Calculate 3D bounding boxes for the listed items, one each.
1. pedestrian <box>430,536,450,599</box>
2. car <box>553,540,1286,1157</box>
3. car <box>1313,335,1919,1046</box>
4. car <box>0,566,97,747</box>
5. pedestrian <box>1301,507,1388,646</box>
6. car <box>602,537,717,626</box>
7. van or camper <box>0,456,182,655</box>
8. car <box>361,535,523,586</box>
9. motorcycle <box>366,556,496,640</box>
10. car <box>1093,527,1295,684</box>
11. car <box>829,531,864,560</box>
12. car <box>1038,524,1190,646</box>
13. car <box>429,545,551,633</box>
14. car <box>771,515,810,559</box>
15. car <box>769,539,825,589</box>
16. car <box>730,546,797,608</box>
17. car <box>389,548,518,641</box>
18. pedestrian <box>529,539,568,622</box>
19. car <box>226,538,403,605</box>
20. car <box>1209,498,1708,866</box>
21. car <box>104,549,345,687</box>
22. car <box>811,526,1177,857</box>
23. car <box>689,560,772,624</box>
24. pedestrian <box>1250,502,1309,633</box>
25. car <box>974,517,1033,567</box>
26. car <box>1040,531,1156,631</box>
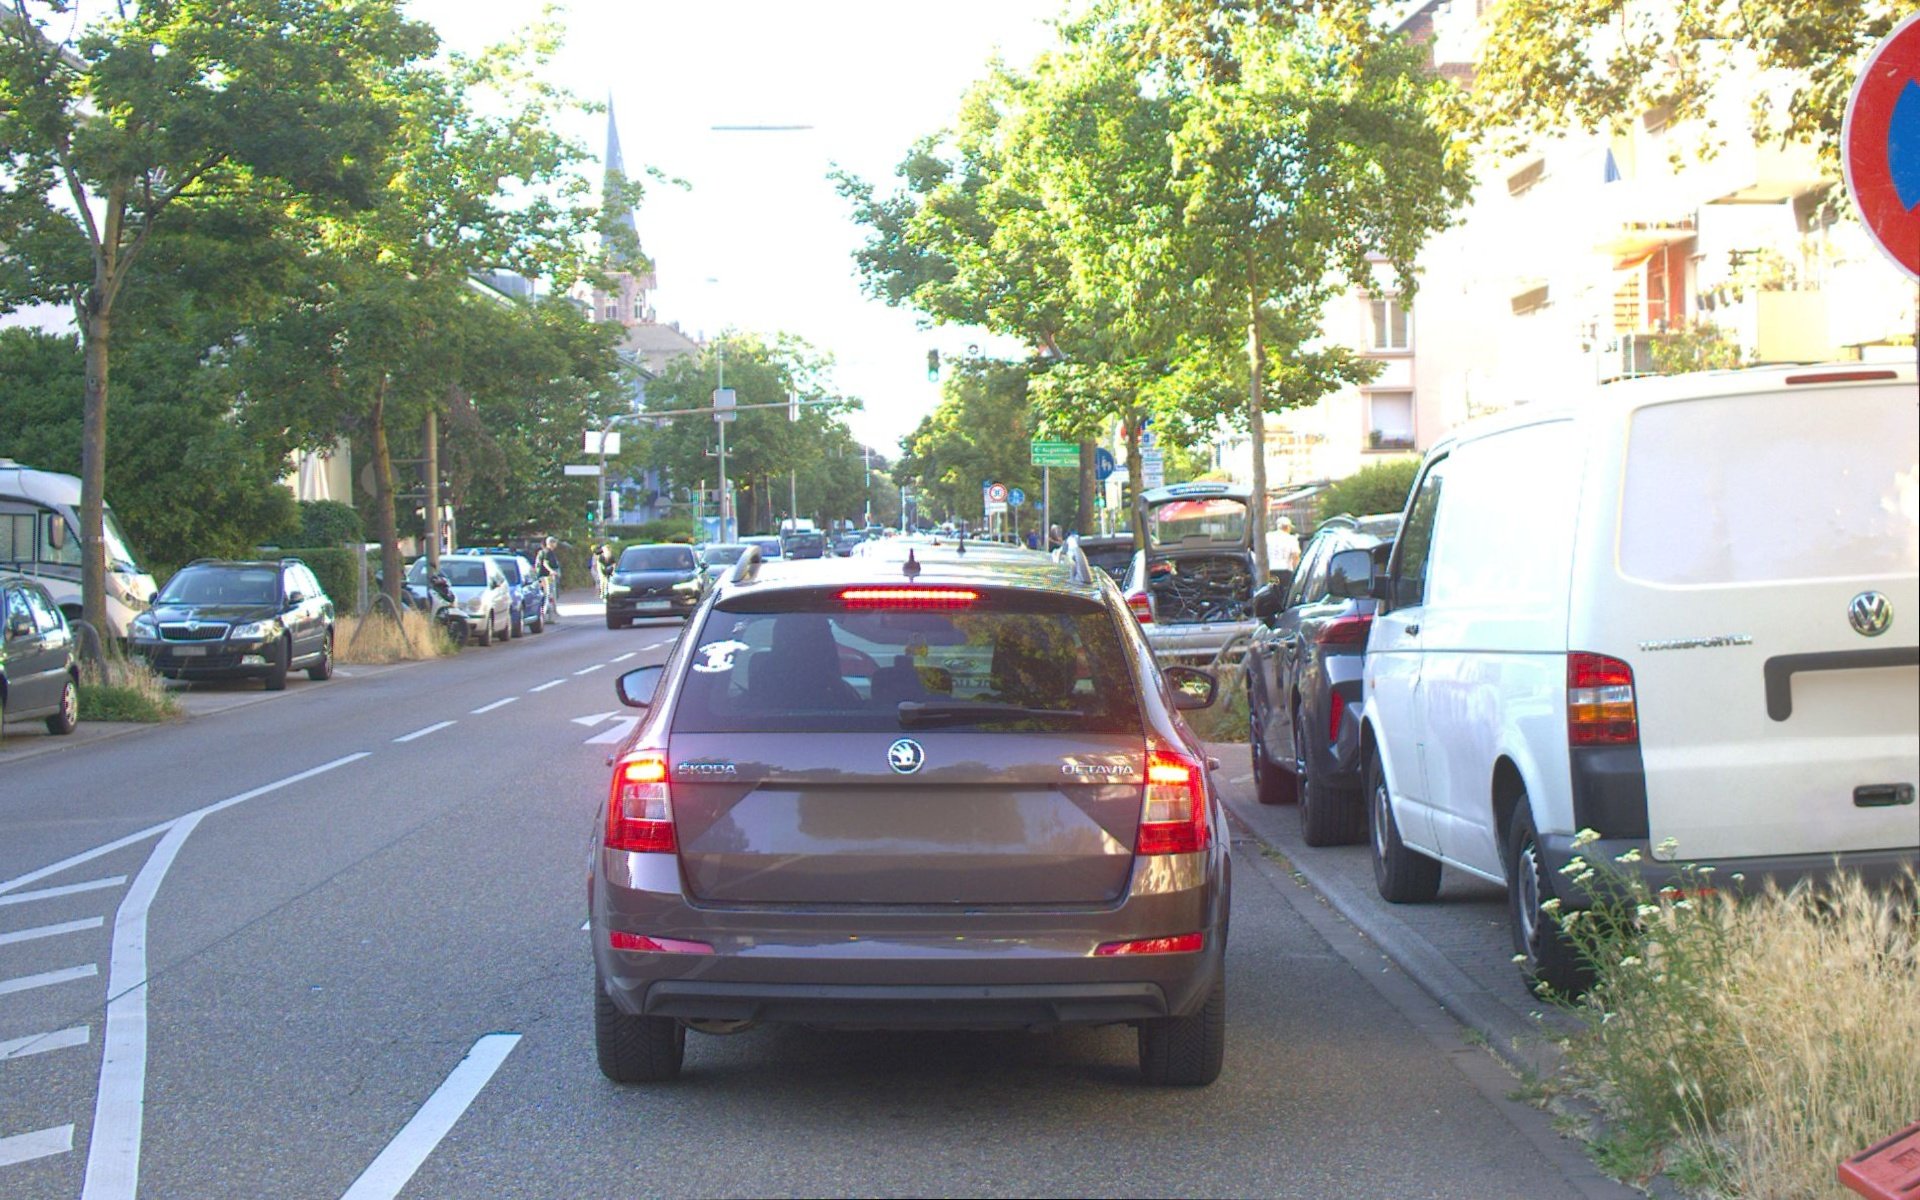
[{"bbox_3d":[-14.827,-0.937,98.031,0.449,1.790,0.504,-1,1,0],"label":"pedestrian"},{"bbox_3d":[-0.131,0.564,10.480,1.773,1.484,4.311,0,1,-1],"label":"car"},{"bbox_3d":[2.578,0.217,12.564,1.903,2.096,4.641,-1,1,-2],"label":"car"},{"bbox_3d":[-8.366,0.447,28.433,1.543,1.391,3.666,-1,1,-1],"label":"car"},{"bbox_3d":[4.580,-0.279,40.950,0.757,1.634,0.694,-1,1,36],"label":"pedestrian"},{"bbox_3d":[-5.748,-0.378,66.155,1.835,1.565,4.000,-3,1,-1],"label":"car"},{"bbox_3d":[-14.884,-0.695,49.528,6.797,2.763,2.352,1,1,-1],"label":"van or camper"},{"bbox_3d":[-15.608,-1.203,103.727,4.634,1.530,1.862,0,1,-1],"label":"car"},{"bbox_3d":[-8.228,-0.032,53.443,2.052,1.260,0.765,-1,1,38],"label":"motorcycle"},{"bbox_3d":[2.412,0.009,36.372,1.708,1.475,4.269,-3,1,-1],"label":"car"},{"bbox_3d":[-6.519,-3.154,197.814,1.830,1.574,4.000,-1,1,0],"label":"car"},{"bbox_3d":[2.141,-0.247,48.756,1.856,1.576,4.014,-3,1,-1],"label":"car"},{"bbox_3d":[-8.417,-0.231,61.780,1.648,1.512,4.074,0,1,0],"label":"car"},{"bbox_3d":[-9.676,-3.594,196.240,1.993,2.469,4.000,-1,1,0],"label":"car"},{"bbox_3d":[-6.635,-1.498,140.331,1.993,1.902,4.964,-3,1,-1],"label":"car"},{"bbox_3d":[-6.112,-0.742,107.470,1.805,1.798,4.746,-3,1,-1],"label":"car"},{"bbox_3d":[-8.384,-0.118,57.151,1.593,1.465,3.804,1,1,0],"label":"car"},{"bbox_3d":[-9.901,-0.478,82.743,0.780,1.981,0.821,-1,1,0],"label":"pedestrian"},{"bbox_3d":[-18.277,-0.817,97.496,4.634,1.805,1.862,-1,1,-1],"label":"car"},{"bbox_3d":[2.473,0.338,18.127,1.856,1.598,4.312,-4,1,-1],"label":"car"},{"bbox_3d":[-8.549,0.165,40.339,1.867,1.489,4.517,0,1,0],"label":"car"},{"bbox_3d":[0.177,0.403,18.518,1.737,1.565,4.000,1,1,0],"label":"car"},{"bbox_3d":[-5.825,-0.218,87.680,1.760,1.447,4.534,-3,1,0],"label":"car"},{"bbox_3d":[4.366,-0.449,47.013,0.662,1.743,0.772,-3,1,0],"label":"pedestrian"},{"bbox_3d":[1.593,-2.087,123.771,1.994,1.766,4.000,1,1,2],"label":"car"},{"bbox_3d":[2.164,-0.333,54.381,1.703,1.445,4.013,-3,1,2],"label":"car"}]
